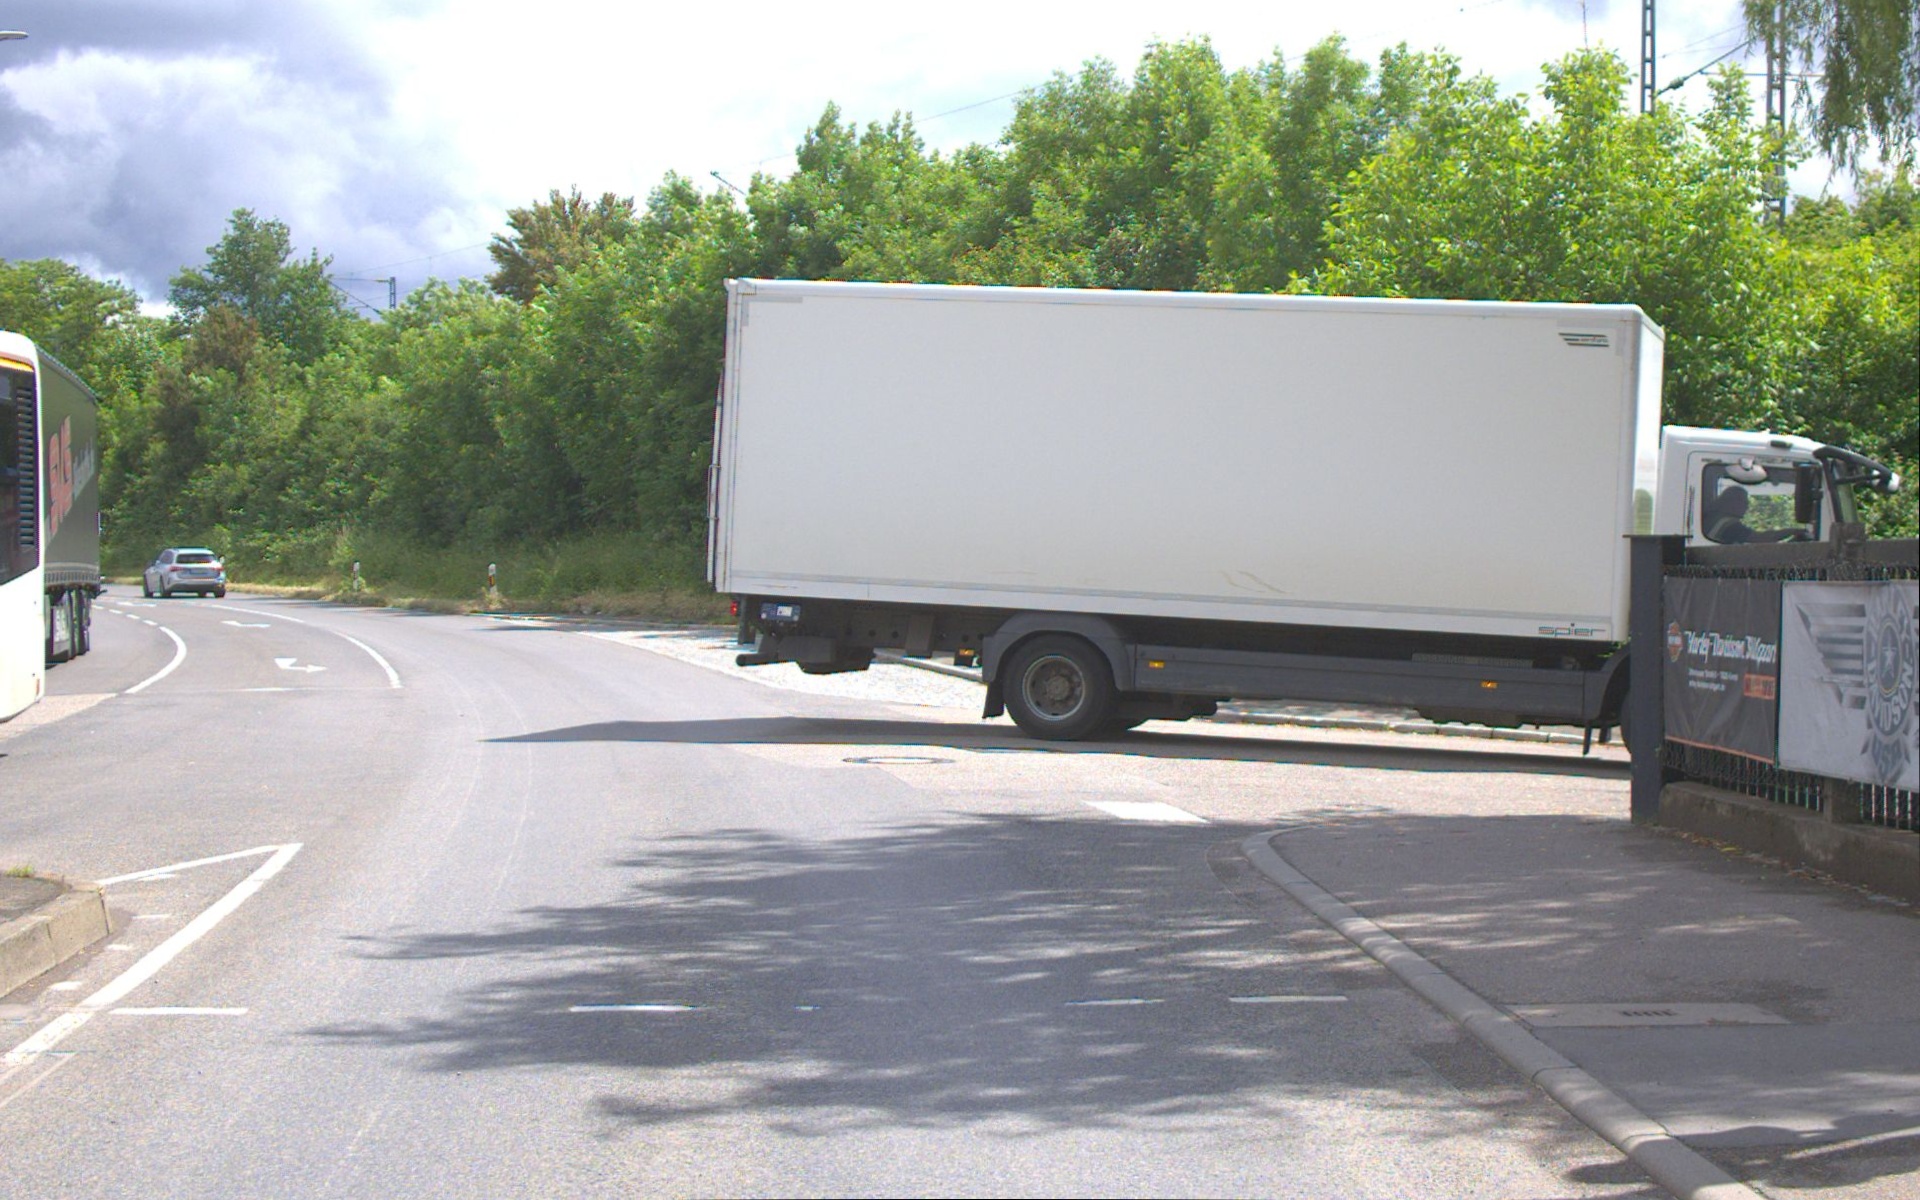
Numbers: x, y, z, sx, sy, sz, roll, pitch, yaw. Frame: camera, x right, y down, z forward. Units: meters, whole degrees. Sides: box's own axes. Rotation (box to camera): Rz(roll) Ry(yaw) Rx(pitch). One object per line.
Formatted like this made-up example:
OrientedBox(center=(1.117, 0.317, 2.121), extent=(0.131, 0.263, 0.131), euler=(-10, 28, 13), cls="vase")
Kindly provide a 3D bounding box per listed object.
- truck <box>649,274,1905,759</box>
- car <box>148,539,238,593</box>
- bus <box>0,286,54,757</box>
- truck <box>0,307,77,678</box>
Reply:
OrientedBox(center=(2.552, -0.711, 27.787), extent=(9.700, 3.528, 2.847), euler=(1, 1, 17), cls="truck")
OrientedBox(center=(-22.571, -1.016, 101.093), extent=(1.884, 1.503, 4.001), euler=(0, 1, -23), cls="car")
OrientedBox(center=(-7.951, -0.476, 19.075), extent=(2.777, 3.255, 12.124), euler=(-1, 1, -1), cls="bus")
OrientedBox(center=(-12.179, -1.243, 40.184), extent=(2.428, 4.117, 9.152), euler=(2, 0, -8), cls="truck")
